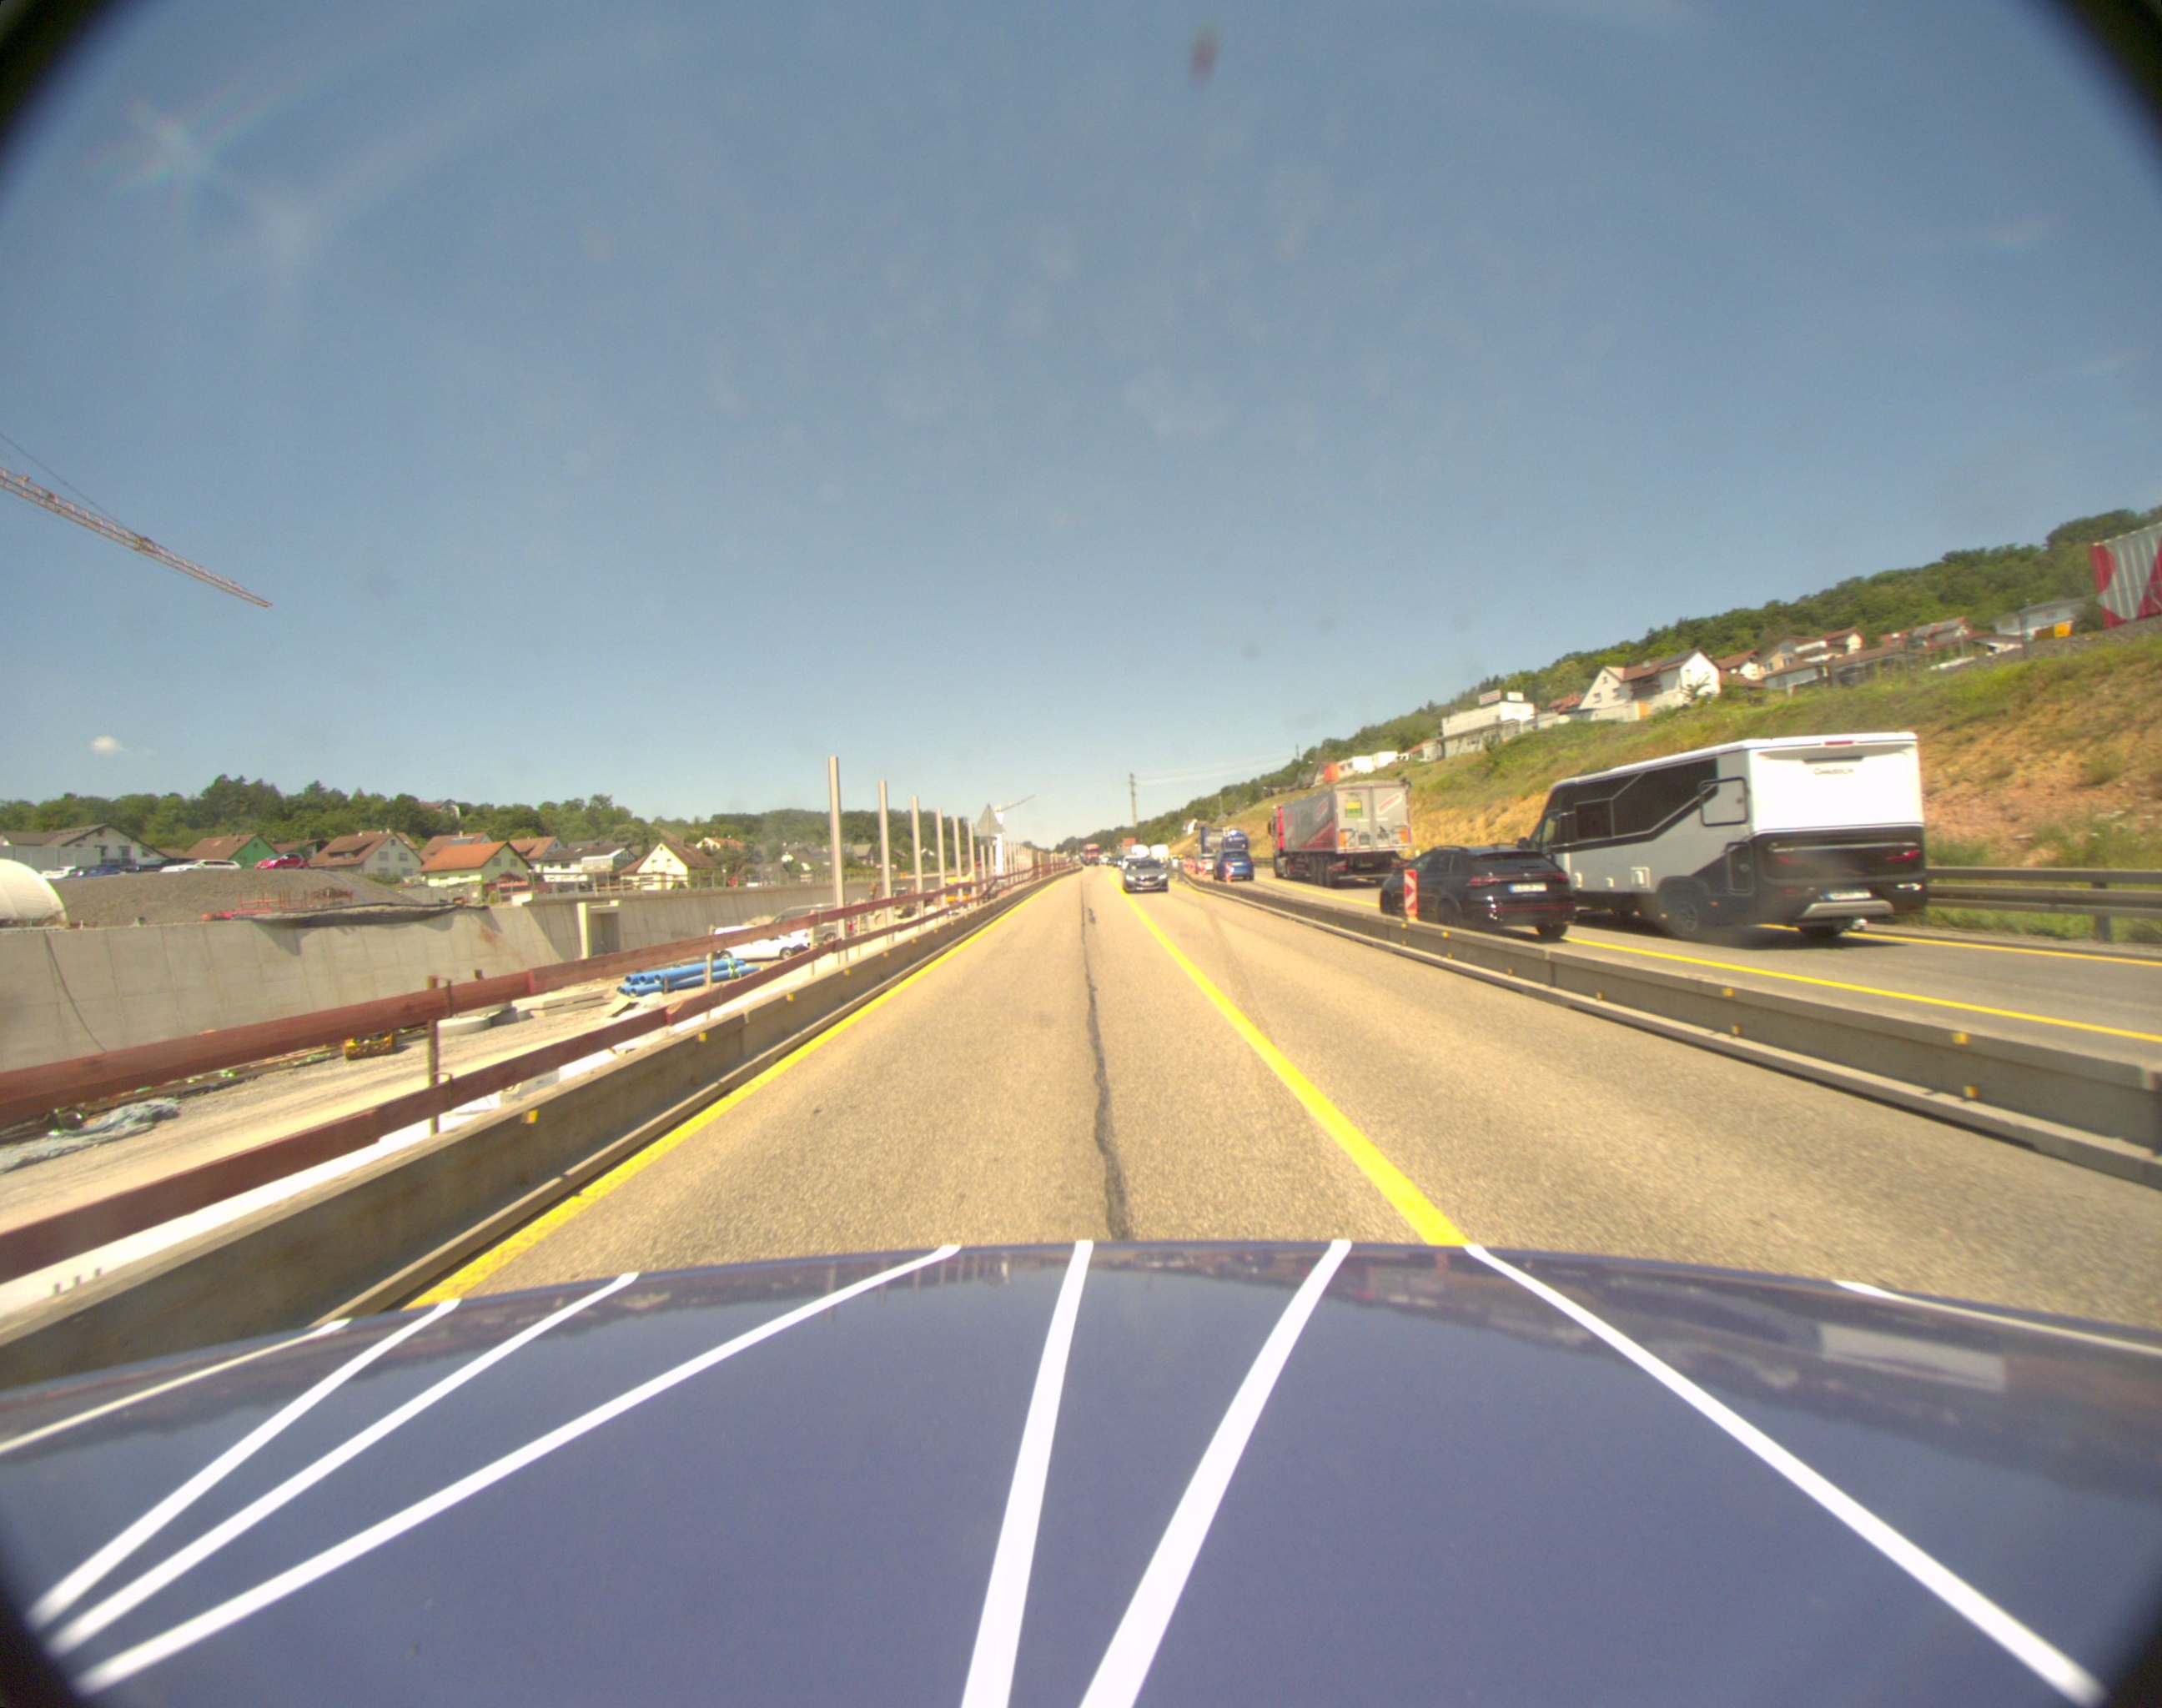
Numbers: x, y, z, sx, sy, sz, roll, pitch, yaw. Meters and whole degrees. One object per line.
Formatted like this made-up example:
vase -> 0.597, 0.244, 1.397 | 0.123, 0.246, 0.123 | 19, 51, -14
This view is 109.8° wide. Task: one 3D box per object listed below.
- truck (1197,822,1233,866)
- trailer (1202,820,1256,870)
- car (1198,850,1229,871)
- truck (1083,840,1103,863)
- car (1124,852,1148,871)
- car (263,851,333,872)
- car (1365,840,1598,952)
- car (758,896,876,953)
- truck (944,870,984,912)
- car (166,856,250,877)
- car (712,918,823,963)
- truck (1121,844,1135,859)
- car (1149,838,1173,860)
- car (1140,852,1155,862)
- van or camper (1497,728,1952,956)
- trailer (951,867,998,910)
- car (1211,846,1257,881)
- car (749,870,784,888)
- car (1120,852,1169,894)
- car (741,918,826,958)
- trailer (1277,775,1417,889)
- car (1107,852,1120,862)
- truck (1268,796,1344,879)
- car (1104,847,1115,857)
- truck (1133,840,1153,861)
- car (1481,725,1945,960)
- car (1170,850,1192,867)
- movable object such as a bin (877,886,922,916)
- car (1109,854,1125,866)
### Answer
truck -> 12.848, -0.949, 73.039 | 2.589, 3.954, 4.588 | -3, 1, 1
trailer -> 12.787, -0.801, 66.714 | 2.606, 3.848, 11.273 | -3, 1, 1
car -> 9.614, 0.451, 55.387 | 1.837, 1.421, 4.536 | -3, 0, 5
truck -> 2.232, -0.572, 143.775 | 3.463, 4.023, 10.210 | -3, 1, 1
car -> 4.677, 0.610, 64.936 | 1.838, 1.465, 4.390 | -3, 0, 2
car -> -60.453, 0.536, 58.749 | 1.545, 1.477, 3.607 | -3, 1, 1
car -> 6.452, 0.622, 12.861 | 1.758, 1.508, 4.187 | -3, -1, 1
car -> -15.709, 4.159, 45.614 | 6.308, 2.565, 2.053 | -6, -1, -13
truck -> -10.461, 3.245, 68.251 | 2.504, 3.385, 5.436 | -3, 1, 1
car -> -69.333, 0.935, 60.432 | 1.729, 1.477, 4.214 | -3, 1, 1
car -> -15.847, 4.367, 38.554 | 4.801, 1.758, 1.720 | -4, -1, 1
truck -> 12.926, -0.747, 207.988 | 3.148, 4.023, 10.210 | -3, 1, 1
car -> 9.940, -0.582, 95.260 | 2.211, 2.614, 6.627 | -3, 0, 0
car -> 9.668, 0.412, 110.698 | 1.838, 1.368, 4.389 | -3, 0, 0
van or camper -> 9.586, -0.150, 12.473 | 2.128, 2.689, 6.456 | -2, 0, 2
trailer -> -10.328, 3.209, 74.948 | 2.446, 3.333, 12.893 | -3, 1, 1
car -> 7.910, 0.443, 39.703 | 1.837, 1.654, 4.686 | -3, 1, 6
car -> -32.641, 2.537, 78.941 | 1.658, 1.594, 4.605 | -3, 1, 0
car -> 2.685, 0.764, 32.856 | 1.838, 1.587, 4.390 | -3, 0, 2
car -> -16.317, 4.587, 41.801 | 3.871, 1.676, 1.692 | -4, 0, -4
trailer -> 10.681, -0.842, 32.088 | 2.661, 3.794, 11.823 | -3, 1, 5
car -> 5.280, 0.524, 125.541 | 1.801, 1.542, 4.000 | -3, -1, -2
truck -> 11.248, -0.817, 38.417 | 2.590, 3.806, 5.382 | -3, 1, 6
car -> 8.996, -0.675, 239.639 | 2.926, 2.863, 6.696 | -3, 0, 0
truck -> 12.803, -0.738, 157.764 | 3.115, 4.023, 13.156 | -3, 1, 1
car -> 9.531, -0.174, 12.656 | 2.281, 2.805, 6.558 | -3, 1, 1
car -> 9.732, 0.412, 74.390 | 1.837, 1.510, 4.845 | -3, 0, 5
movable object such as a bin -> -18.881, 4.861, 79.142 | 3.266, 2.769, 4.001 | -3, 1, 6
car -> 4.778, 0.813, 102.231 | 1.801, 1.542, 4.000 | -3, -1, -2
